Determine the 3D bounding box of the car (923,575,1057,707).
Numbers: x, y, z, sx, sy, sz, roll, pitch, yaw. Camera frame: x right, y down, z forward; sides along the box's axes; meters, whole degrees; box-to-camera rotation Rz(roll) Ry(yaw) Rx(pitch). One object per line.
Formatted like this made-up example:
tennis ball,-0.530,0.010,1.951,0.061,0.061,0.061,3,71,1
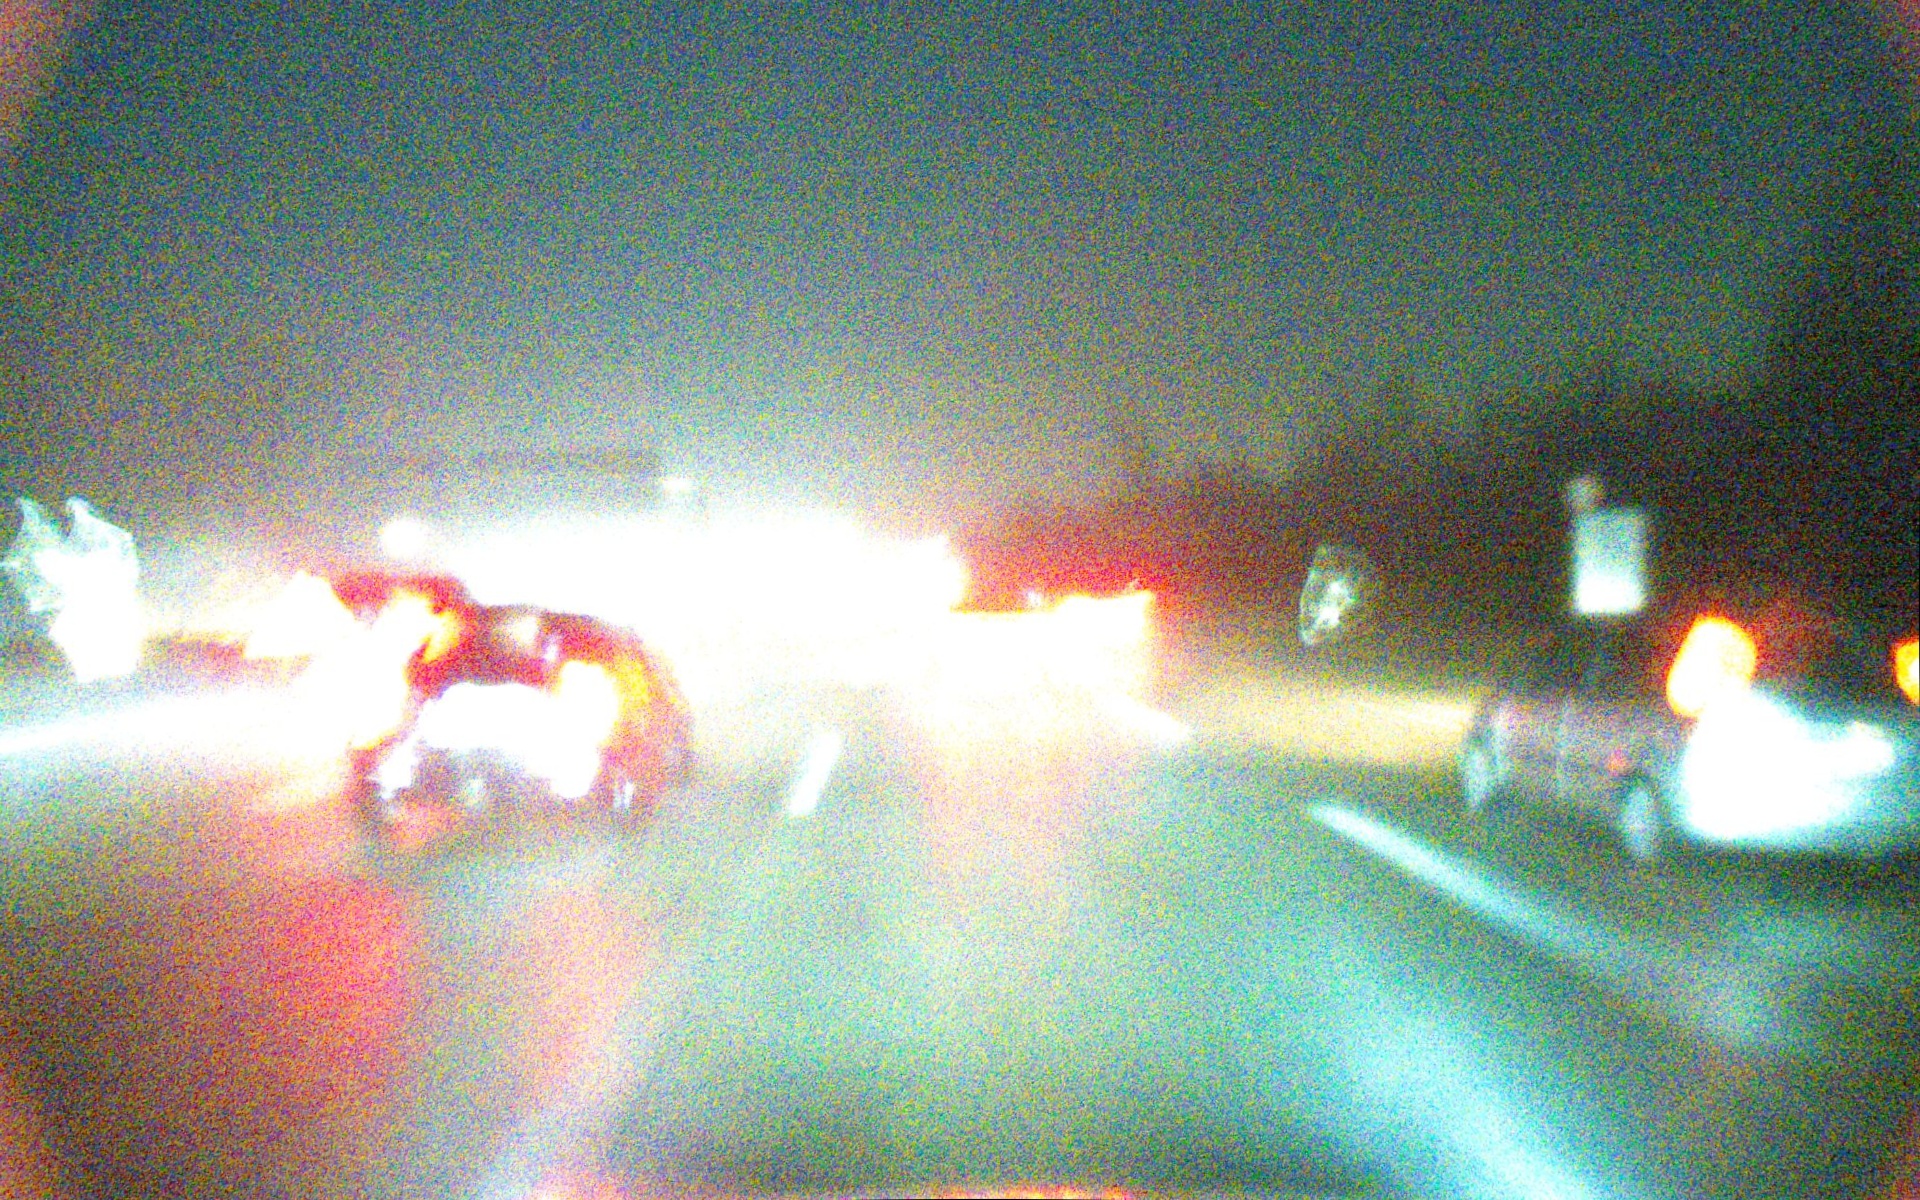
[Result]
car,0.356,0.525,23.742,1.730,1.719,3.999,0,0,-2

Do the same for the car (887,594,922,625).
car,-3.197,0.556,94.824,1.953,1.733,4.456,1,-1,-2

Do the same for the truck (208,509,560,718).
truck,-6.977,0.172,20.969,2.801,2.239,5.852,1,-1,-5

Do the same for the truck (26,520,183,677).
truck,-32.736,-0.021,63.570,3.175,5.690,5.872,1,-1,-5

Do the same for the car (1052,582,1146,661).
car,3.322,0.517,40.275,1.840,1.793,3.998,1,-1,-2

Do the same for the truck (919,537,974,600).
truck,-1.281,-2.705,146.654,4.080,5.307,9.943,1,-1,-5

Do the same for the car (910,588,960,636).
car,-1.006,0.462,64.021,1.731,1.793,3.997,1,-1,-4

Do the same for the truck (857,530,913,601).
truck,-6.120,-2.746,136.719,4.167,5.539,10.882,1,-1,-1

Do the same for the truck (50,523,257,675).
truck,-33.239,0.016,69.033,3.175,5.690,12.783,1,-1,-4

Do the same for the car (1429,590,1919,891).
car,4.461,0.692,10.285,1.734,1.483,4.193,0,0,-3

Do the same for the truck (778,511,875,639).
truck,-5.603,-0.910,67.823,3.586,4.820,9.838,1,-1,-6

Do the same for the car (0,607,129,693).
car,-20.325,1.053,36.736,1.685,1.785,4.394,1,-1,-4

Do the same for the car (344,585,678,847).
car,-2.869,0.633,11.386,1.625,1.456,4.239,0,0,-7

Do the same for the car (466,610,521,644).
car,-22.482,1.285,79.813,1.623,1.539,3.998,1,-1,-2

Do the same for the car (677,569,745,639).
car,-8.778,0.152,58.436,2.221,2.313,5.375,1,-1,-8
